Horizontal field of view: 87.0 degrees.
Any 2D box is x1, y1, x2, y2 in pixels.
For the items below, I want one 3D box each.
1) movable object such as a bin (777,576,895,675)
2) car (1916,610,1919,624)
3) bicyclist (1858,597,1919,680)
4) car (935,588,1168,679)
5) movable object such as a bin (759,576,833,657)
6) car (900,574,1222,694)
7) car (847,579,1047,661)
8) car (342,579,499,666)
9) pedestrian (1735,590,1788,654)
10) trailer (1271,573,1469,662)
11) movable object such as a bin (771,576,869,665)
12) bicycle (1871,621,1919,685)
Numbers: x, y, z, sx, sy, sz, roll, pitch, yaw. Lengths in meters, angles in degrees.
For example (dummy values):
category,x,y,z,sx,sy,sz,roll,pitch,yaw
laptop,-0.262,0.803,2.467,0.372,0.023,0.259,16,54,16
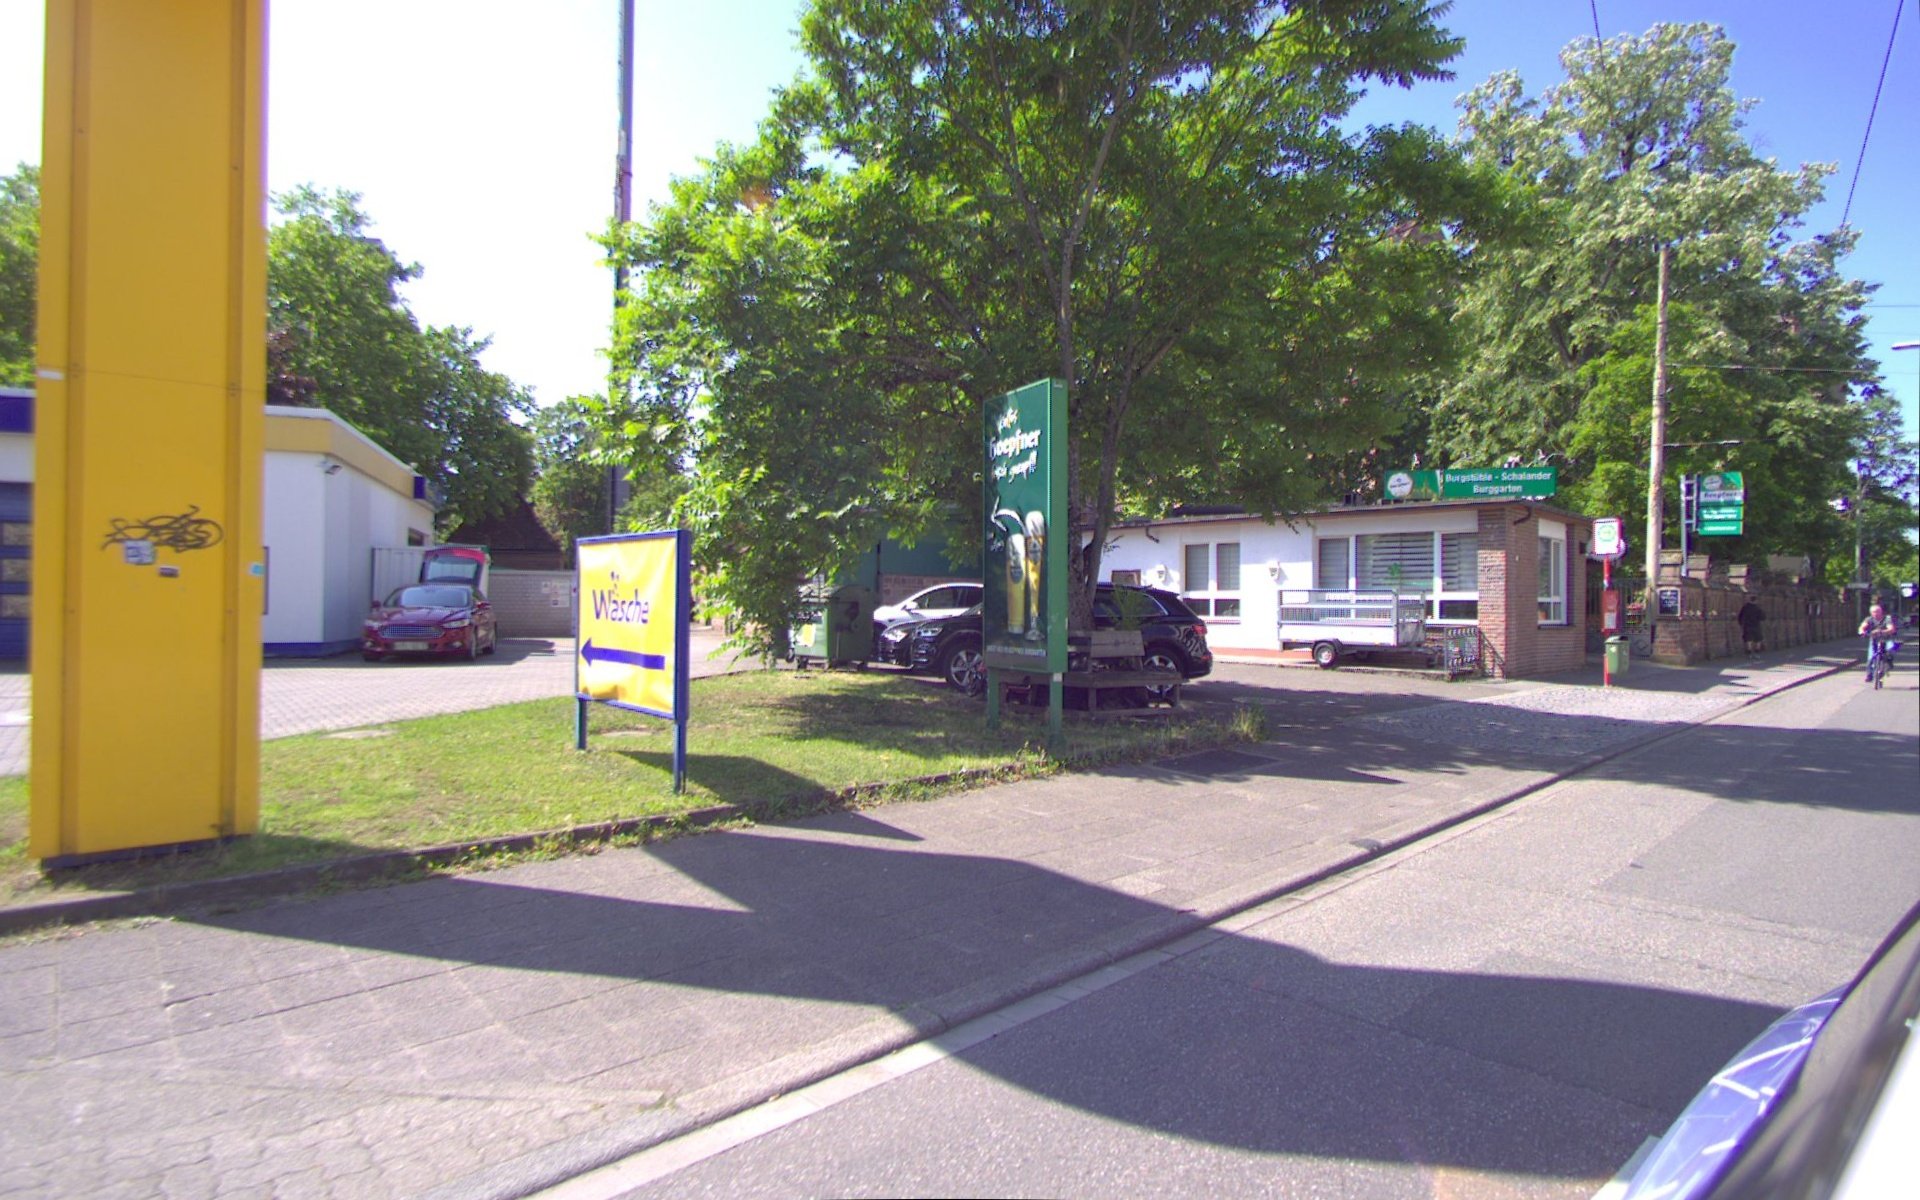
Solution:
category,x,y,z,sx,sy,sz,roll,pitch,yaw
movable object such as a bin,-2.031,0.391,16.545,1.355,1.521,1.420,1,0,-40
car,124.570,2.178,128.669,3.935,1.834,1.884,1,0,10
bicyclist,18.717,0.743,20.361,0.948,1.616,0.904,1,-1,-44
car,1.554,0.560,18.132,3.924,1.492,1.847,1,0,1
movable object such as a bin,-3.247,0.317,19.940,1.303,1.521,1.332,1,0,-14
car,1.443,0.482,15.480,4.572,1.661,2.020,1,0,1
car,-0.254,0.389,20.874,3.924,1.577,1.847,1,0,1
car,-10.301,0.380,19.668,1.853,1.479,4.566,1,0,-17
pedestrian,24.126,0.647,30.457,1.165,1.838,0.978,1,3,-43
trailer,8.157,0.349,20.283,1.694,1.624,3.278,1,-1,-42
movable object such as a bin,-2.534,0.344,18.193,1.351,1.521,1.424,1,0,-27
bicycle,18.947,1.048,20.479,0.610,1.212,2.089,-4,-3,45
